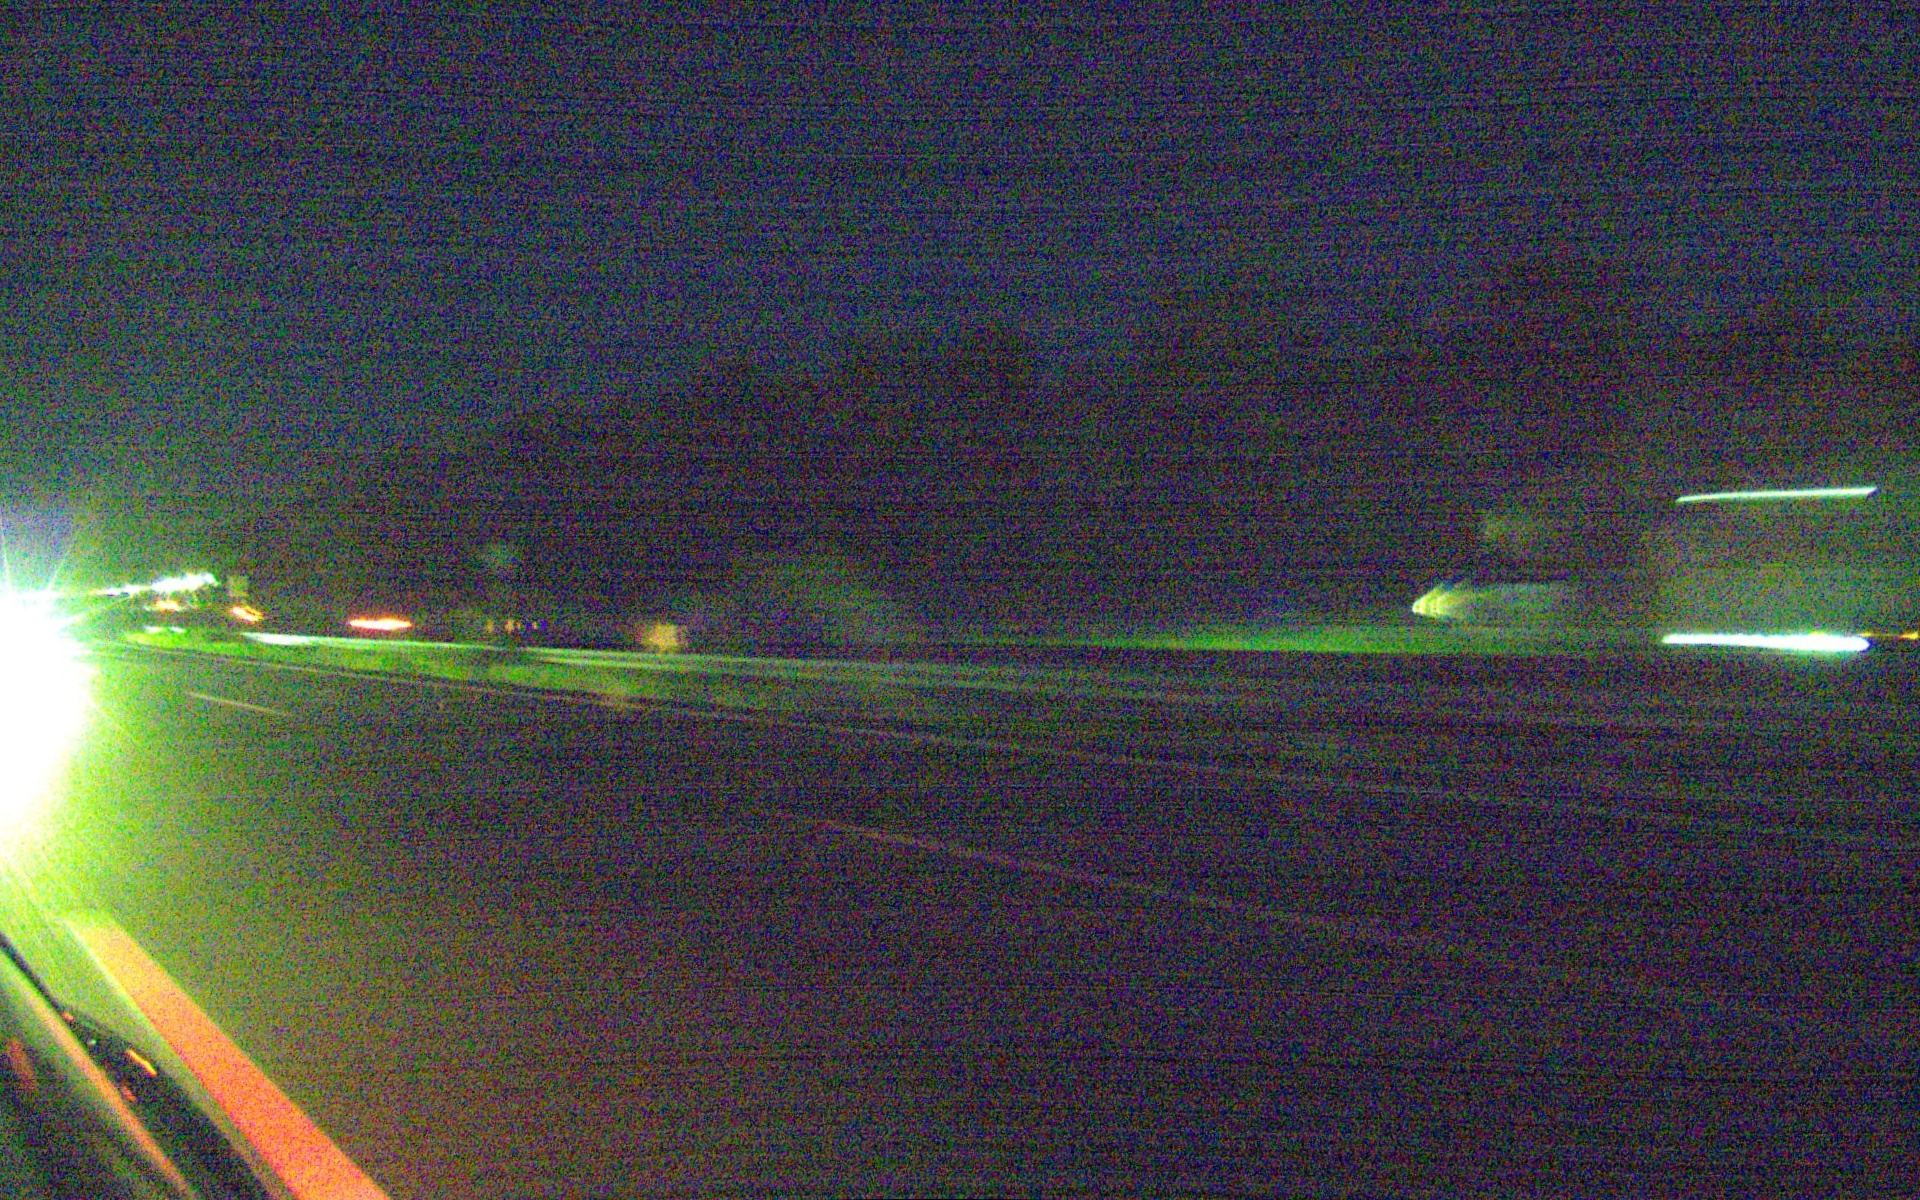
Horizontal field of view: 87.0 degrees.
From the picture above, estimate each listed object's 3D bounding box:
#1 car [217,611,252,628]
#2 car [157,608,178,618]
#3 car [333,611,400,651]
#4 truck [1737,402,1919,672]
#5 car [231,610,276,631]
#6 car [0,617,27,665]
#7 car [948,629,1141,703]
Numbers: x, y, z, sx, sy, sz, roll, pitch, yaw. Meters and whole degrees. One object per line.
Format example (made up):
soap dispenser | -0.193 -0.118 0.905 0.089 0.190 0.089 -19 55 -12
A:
car | -68.316 1.849 95.263 4.001 1.519 1.971 -1 -1 43
car | -125.374 2.080 160.138 4.316 1.519 1.971 0 0 43
car | -27.406 1.387 46.686 3.999 1.609 1.519 1 2 42
truck | 16.415 -0.977 16.301 5.989 4.130 3.553 -1 -1 40
car | -52.690 1.503 75.465 4.001 1.519 1.971 -1 -1 43
car | -32.207 1.360 33.519 1.806 1.422 4.006 -1 1 -41
car | 1.718 1.328 21.448 3.999 1.231 1.519 1 2 42
